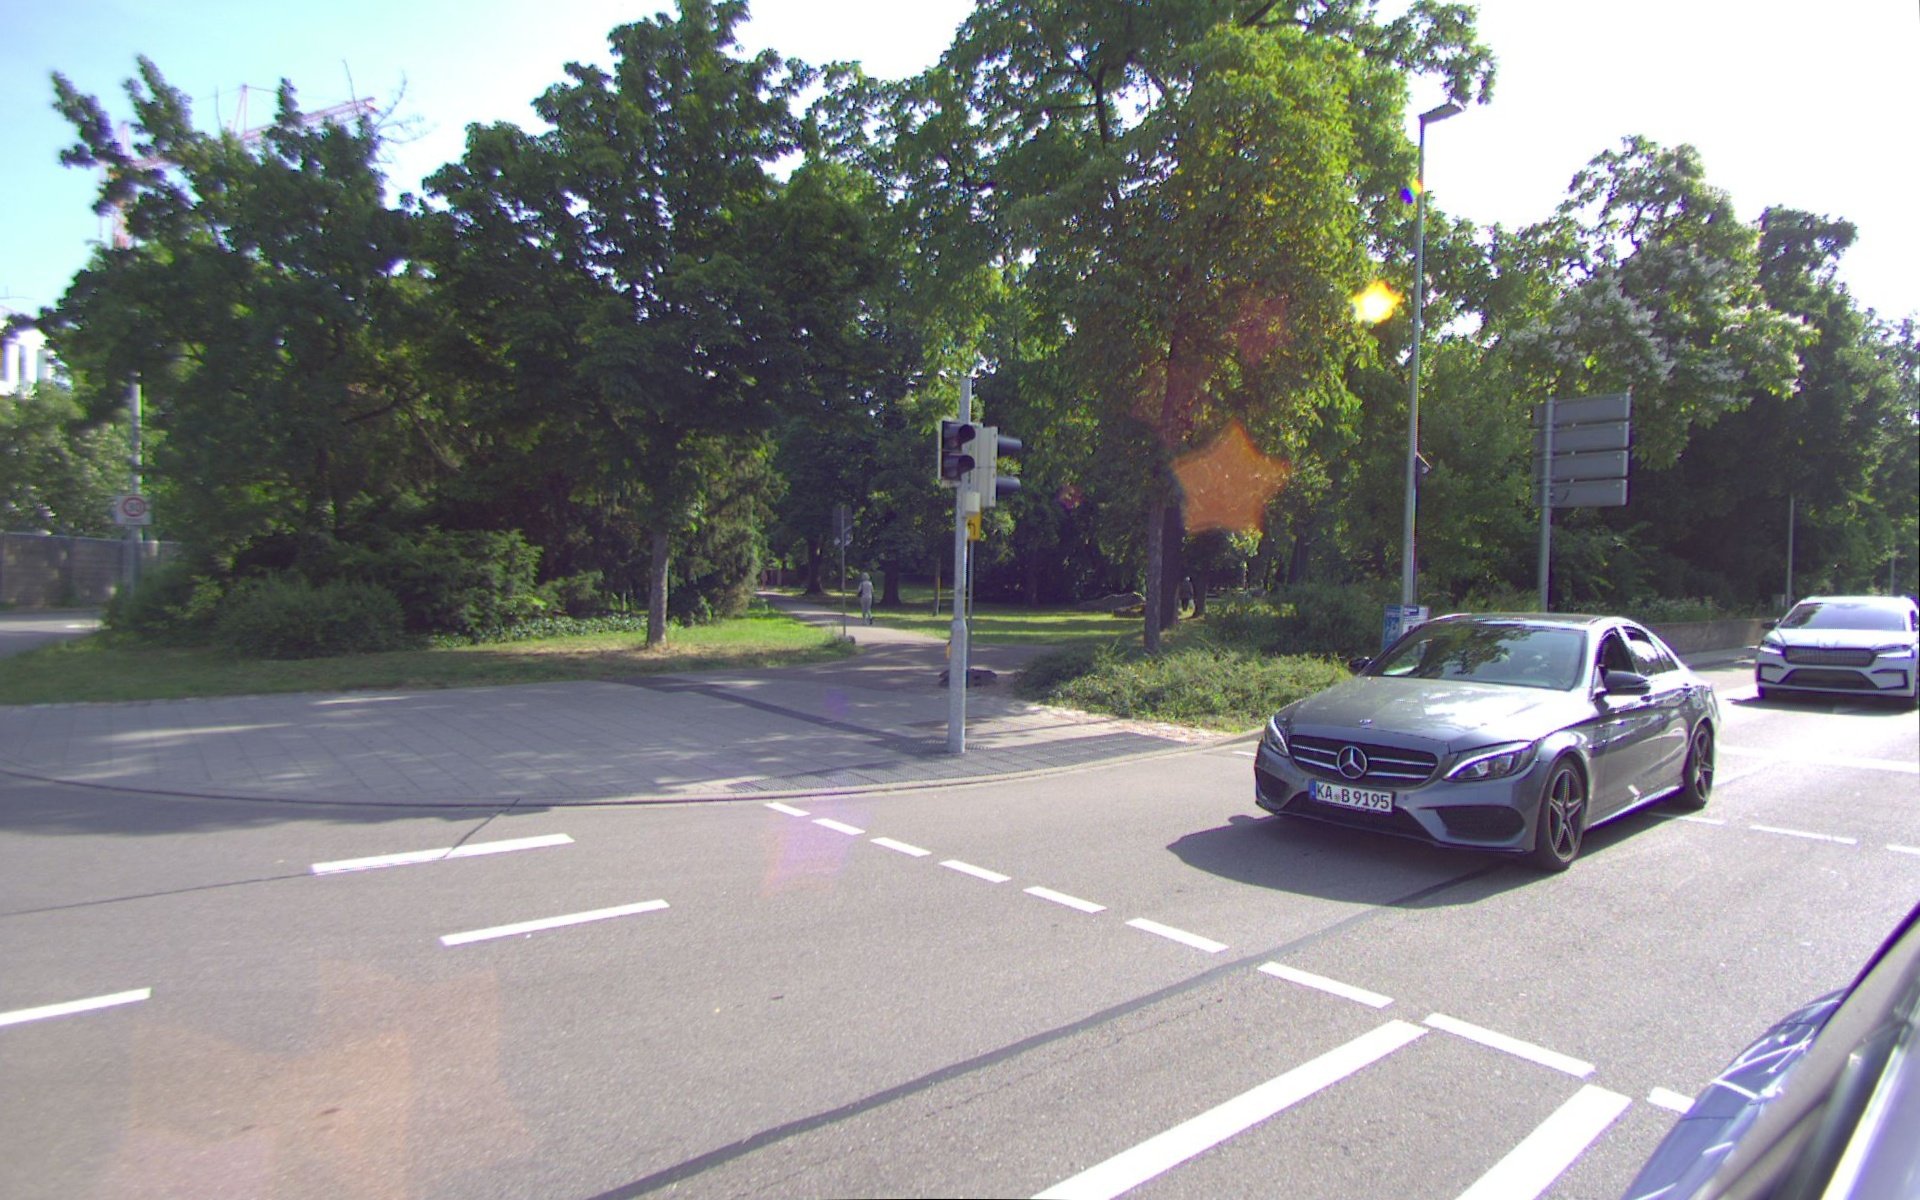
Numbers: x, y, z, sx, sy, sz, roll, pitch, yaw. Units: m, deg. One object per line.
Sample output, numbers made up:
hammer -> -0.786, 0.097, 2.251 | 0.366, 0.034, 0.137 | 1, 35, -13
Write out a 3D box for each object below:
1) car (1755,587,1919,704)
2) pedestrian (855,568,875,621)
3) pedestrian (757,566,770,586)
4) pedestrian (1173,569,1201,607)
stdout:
car -> 14.054, 0.599, 15.725 | 4.175, 1.590, 1.896 | 0, 1, -40
pedestrian -> -2.830, -0.166, 30.120 | 0.523, 1.536, 0.671 | 1, 1, -8
pedestrian -> -14.335, -1.763, 73.847 | 0.749, 1.471, 0.558 | 0, 1, -41
pedestrian -> 11.263, -0.624, 50.217 | 1.048, 1.853, 0.987 | 1, 1, -10
